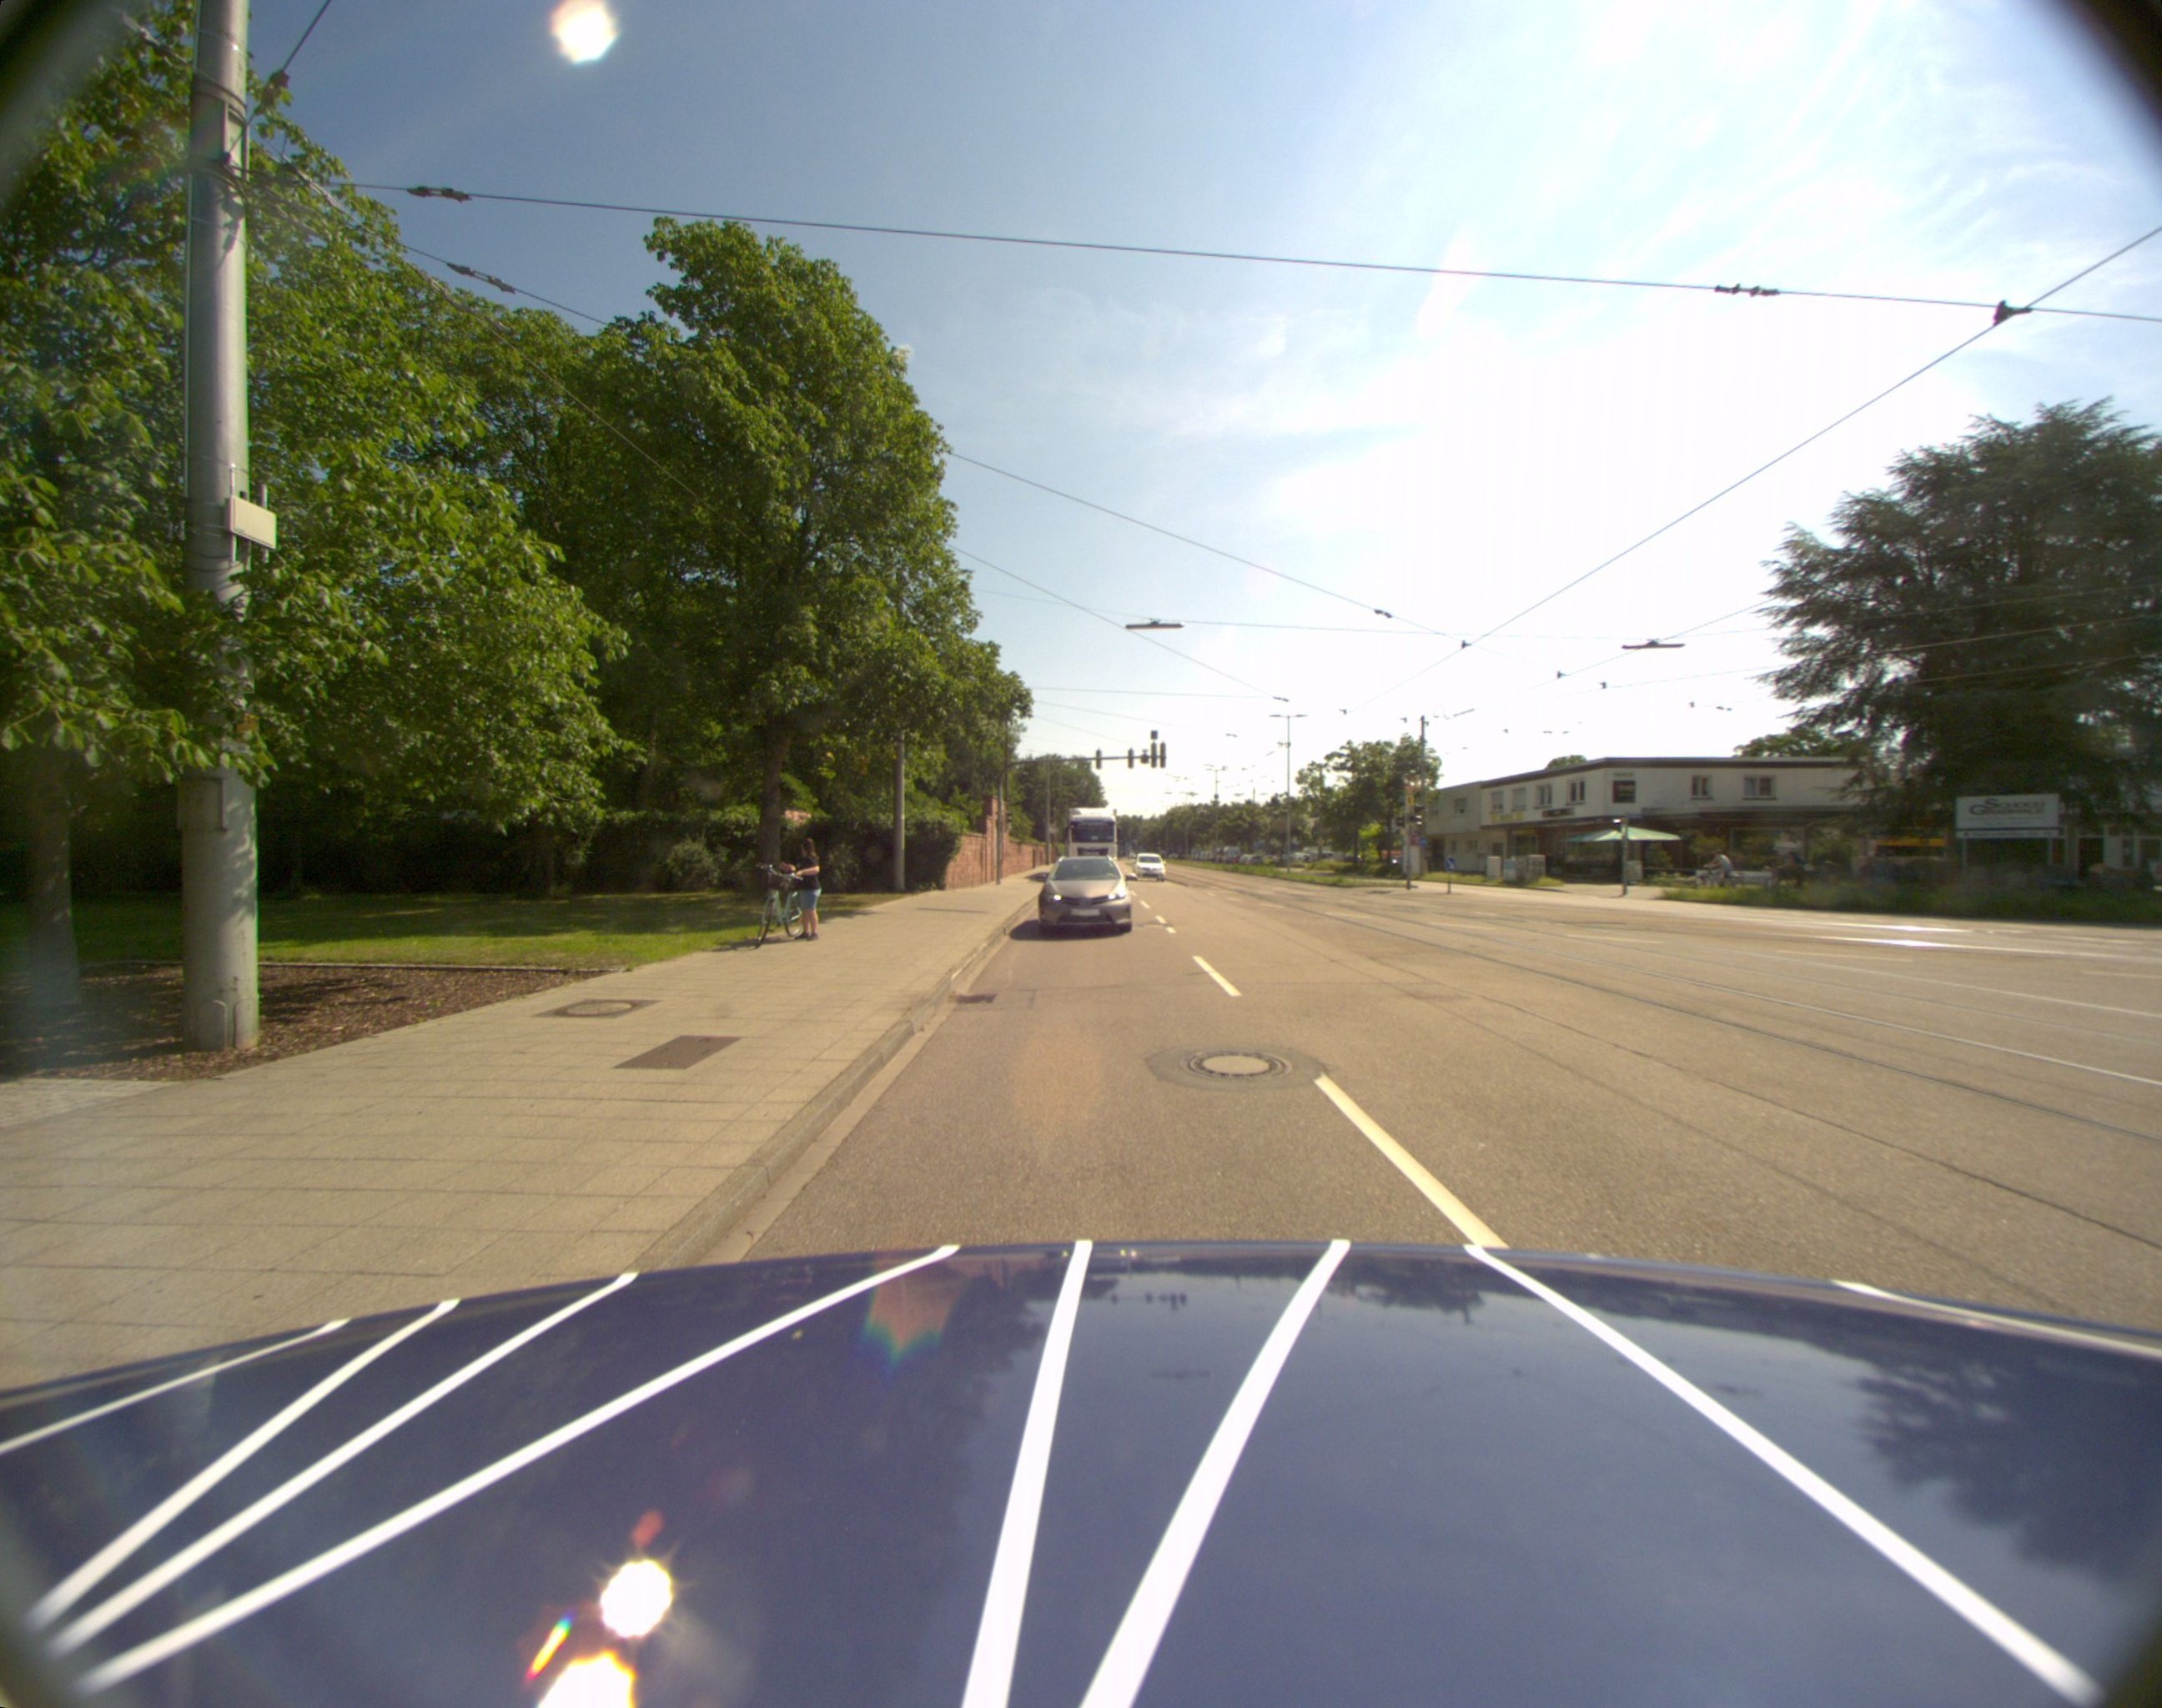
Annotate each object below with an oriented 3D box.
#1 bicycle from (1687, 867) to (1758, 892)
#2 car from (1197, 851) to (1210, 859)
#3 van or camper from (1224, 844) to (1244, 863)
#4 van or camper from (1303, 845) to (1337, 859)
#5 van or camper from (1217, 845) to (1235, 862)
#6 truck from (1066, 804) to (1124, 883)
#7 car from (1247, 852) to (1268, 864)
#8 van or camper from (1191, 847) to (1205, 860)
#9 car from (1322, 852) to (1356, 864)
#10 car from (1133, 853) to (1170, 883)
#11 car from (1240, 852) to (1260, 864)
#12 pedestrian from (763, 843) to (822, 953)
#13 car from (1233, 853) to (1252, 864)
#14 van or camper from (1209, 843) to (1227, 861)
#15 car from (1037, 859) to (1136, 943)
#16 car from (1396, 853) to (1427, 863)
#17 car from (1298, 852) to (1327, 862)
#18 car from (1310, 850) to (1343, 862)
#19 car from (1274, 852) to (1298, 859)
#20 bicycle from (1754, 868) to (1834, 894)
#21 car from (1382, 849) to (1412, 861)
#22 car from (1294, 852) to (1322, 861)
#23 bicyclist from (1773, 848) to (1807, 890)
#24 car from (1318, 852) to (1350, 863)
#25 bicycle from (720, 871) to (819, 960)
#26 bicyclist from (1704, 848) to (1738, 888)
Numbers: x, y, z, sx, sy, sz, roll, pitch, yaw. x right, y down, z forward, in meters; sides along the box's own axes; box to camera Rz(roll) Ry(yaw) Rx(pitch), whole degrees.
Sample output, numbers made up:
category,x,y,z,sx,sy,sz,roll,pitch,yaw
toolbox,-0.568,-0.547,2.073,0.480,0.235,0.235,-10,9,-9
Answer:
category,x,y,z,sx,sy,sz,roll,pitch,yaw
bicycle,25.464,0.995,30.218,0.536,0.941,2.132,0,0,-22
car,23.962,0.232,148.651,1.892,1.551,4.232,1,0,1
van or camper,22.640,-0.066,112.375,2.039,2.617,4.840,1,0,1
van or camper,48.094,-0.403,153.169,6.080,2.715,2.300,1,1,4
van or camper,22.729,-0.138,119.430,2.039,2.617,4.840,1,0,1
truck,0.851,-0.553,42.365,2.746,3.852,9.111,2,0,2
car,22.336,0.502,96.315,1.892,1.486,4.286,-2,0,3
van or camper,23.775,-0.168,155.077,2.113,2.604,5.452,2,1,2
car,32.531,0.494,95.843,3.624,1.353,1.712,1,0,0
car,3.922,0.770,42.942,1.770,1.552,4.067,2,0,2
car,22.598,0.574,101.669,1.892,1.551,4.285,1,0,1
pedestrian,-4.223,0.628,11.155,0.542,1.540,0.663,3,1,1
car,22.684,0.587,106.986,1.892,1.486,4.232,1,0,1
van or camper,22.974,-0.390,127.318,2.128,2.967,5.281,1,0,1
car,0.171,0.846,15.702,1.742,1.424,4.462,1,0,2
car,45.978,0.591,105.668,3.624,1.353,1.712,1,0,0
car,33.215,0.413,109.088,3.624,1.274,1.812,1,0,0
car,32.601,0.260,101.053,3.749,1.560,1.951,1,0,0
car,34.699,0.249,128.691,3.624,1.274,1.712,1,0,0
bicycle,26.989,1.018,28.817,0.577,0.885,2.131,0,0,-28
car,45.877,0.115,110.408,3.624,1.767,1.712,1,1,0
car,34.097,0.384,114.176,3.624,1.274,1.712,1,0,0
bicyclist,26.978,0.552,28.919,0.633,1.565,0.764,0,1,-28
car,32.790,0.473,98.582,3.624,1.353,1.712,1,0,0
bicycle,-4.452,0.841,11.004,0.537,1.105,1.807,1,1,5
bicyclist,25.518,0.559,30.284,0.632,1.549,0.764,1,1,-18
